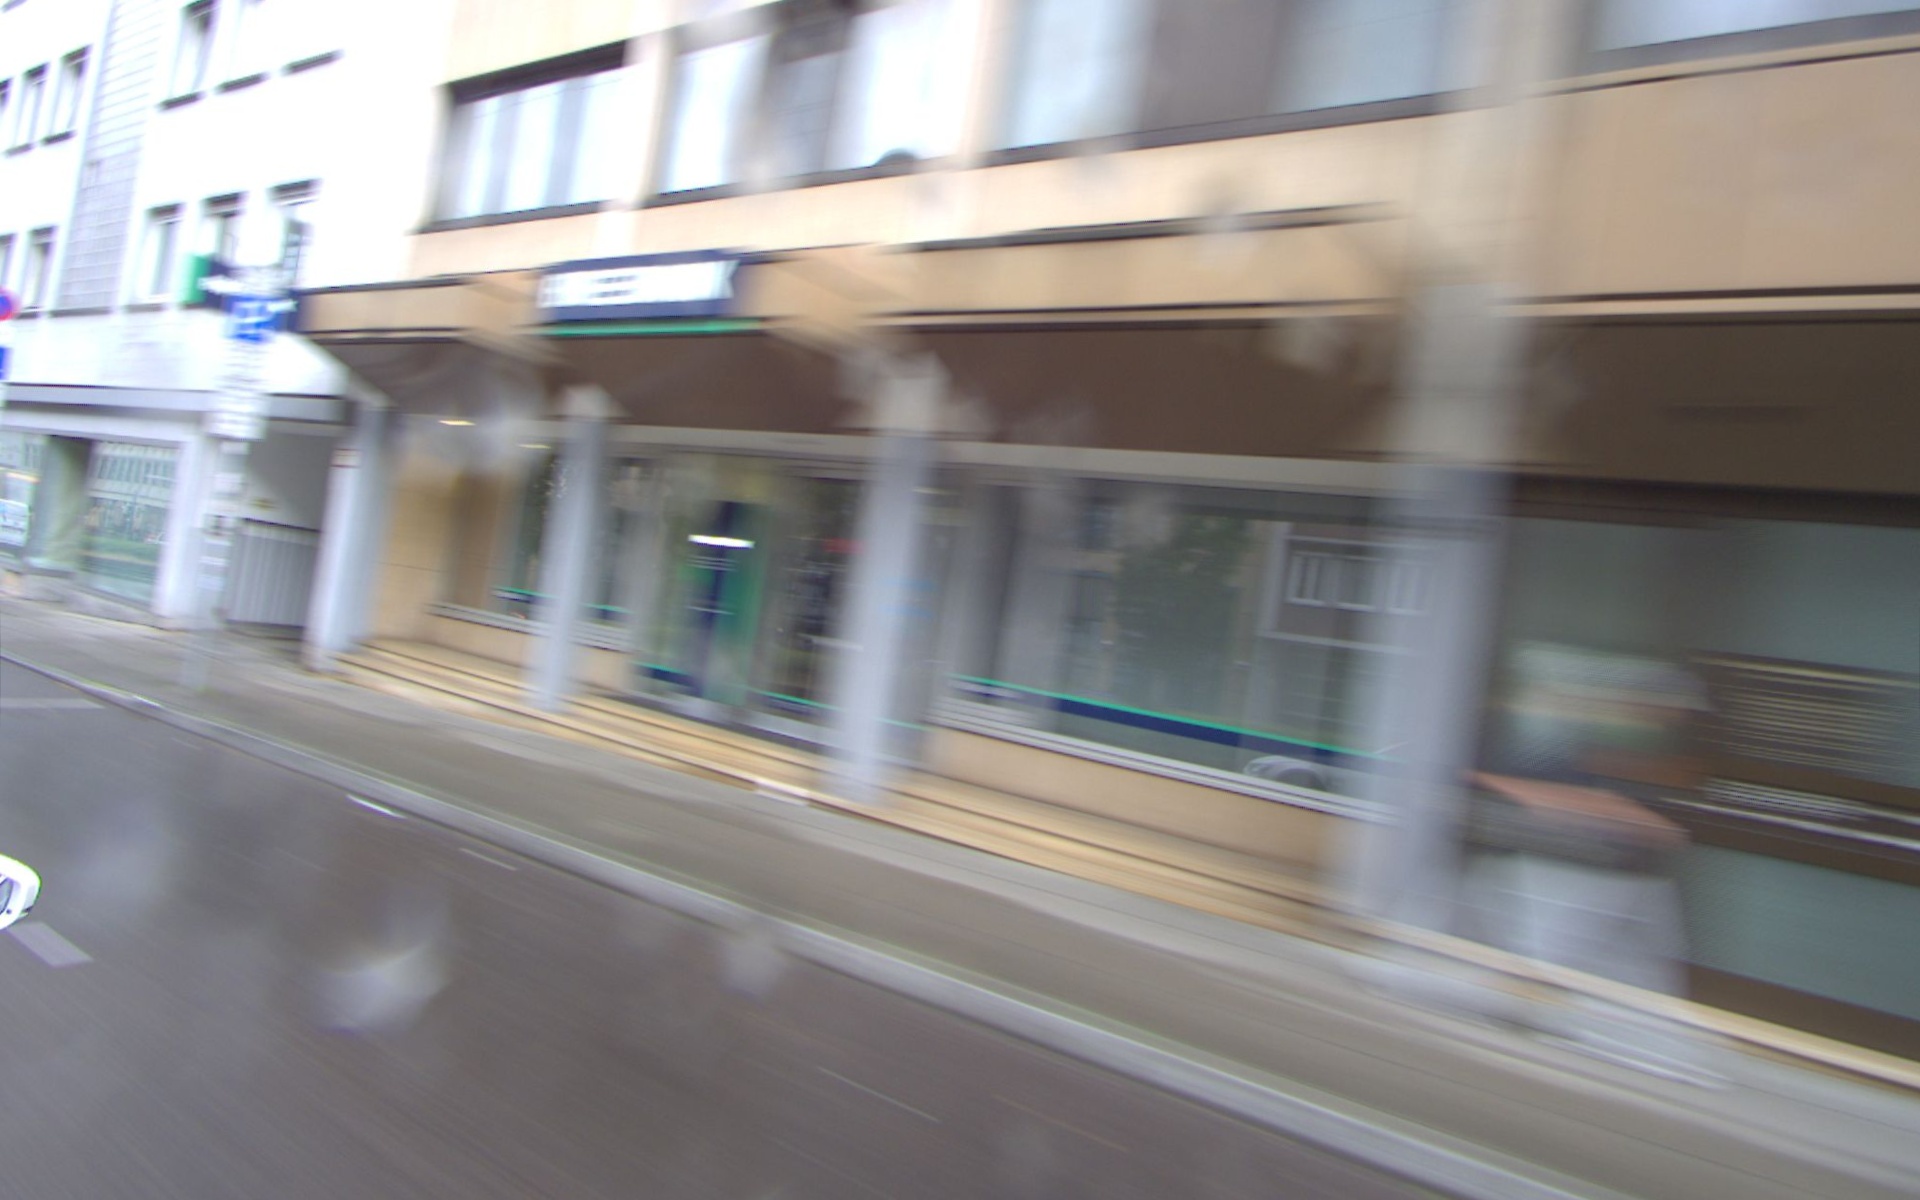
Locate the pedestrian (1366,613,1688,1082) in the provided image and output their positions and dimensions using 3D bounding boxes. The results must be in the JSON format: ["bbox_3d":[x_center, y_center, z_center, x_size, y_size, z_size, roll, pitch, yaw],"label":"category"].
[{"bbox_3d":[2.398,0.965,4.317,0.949,1.671,0.697,7,-1,30],"label":"pedestrian"}]
